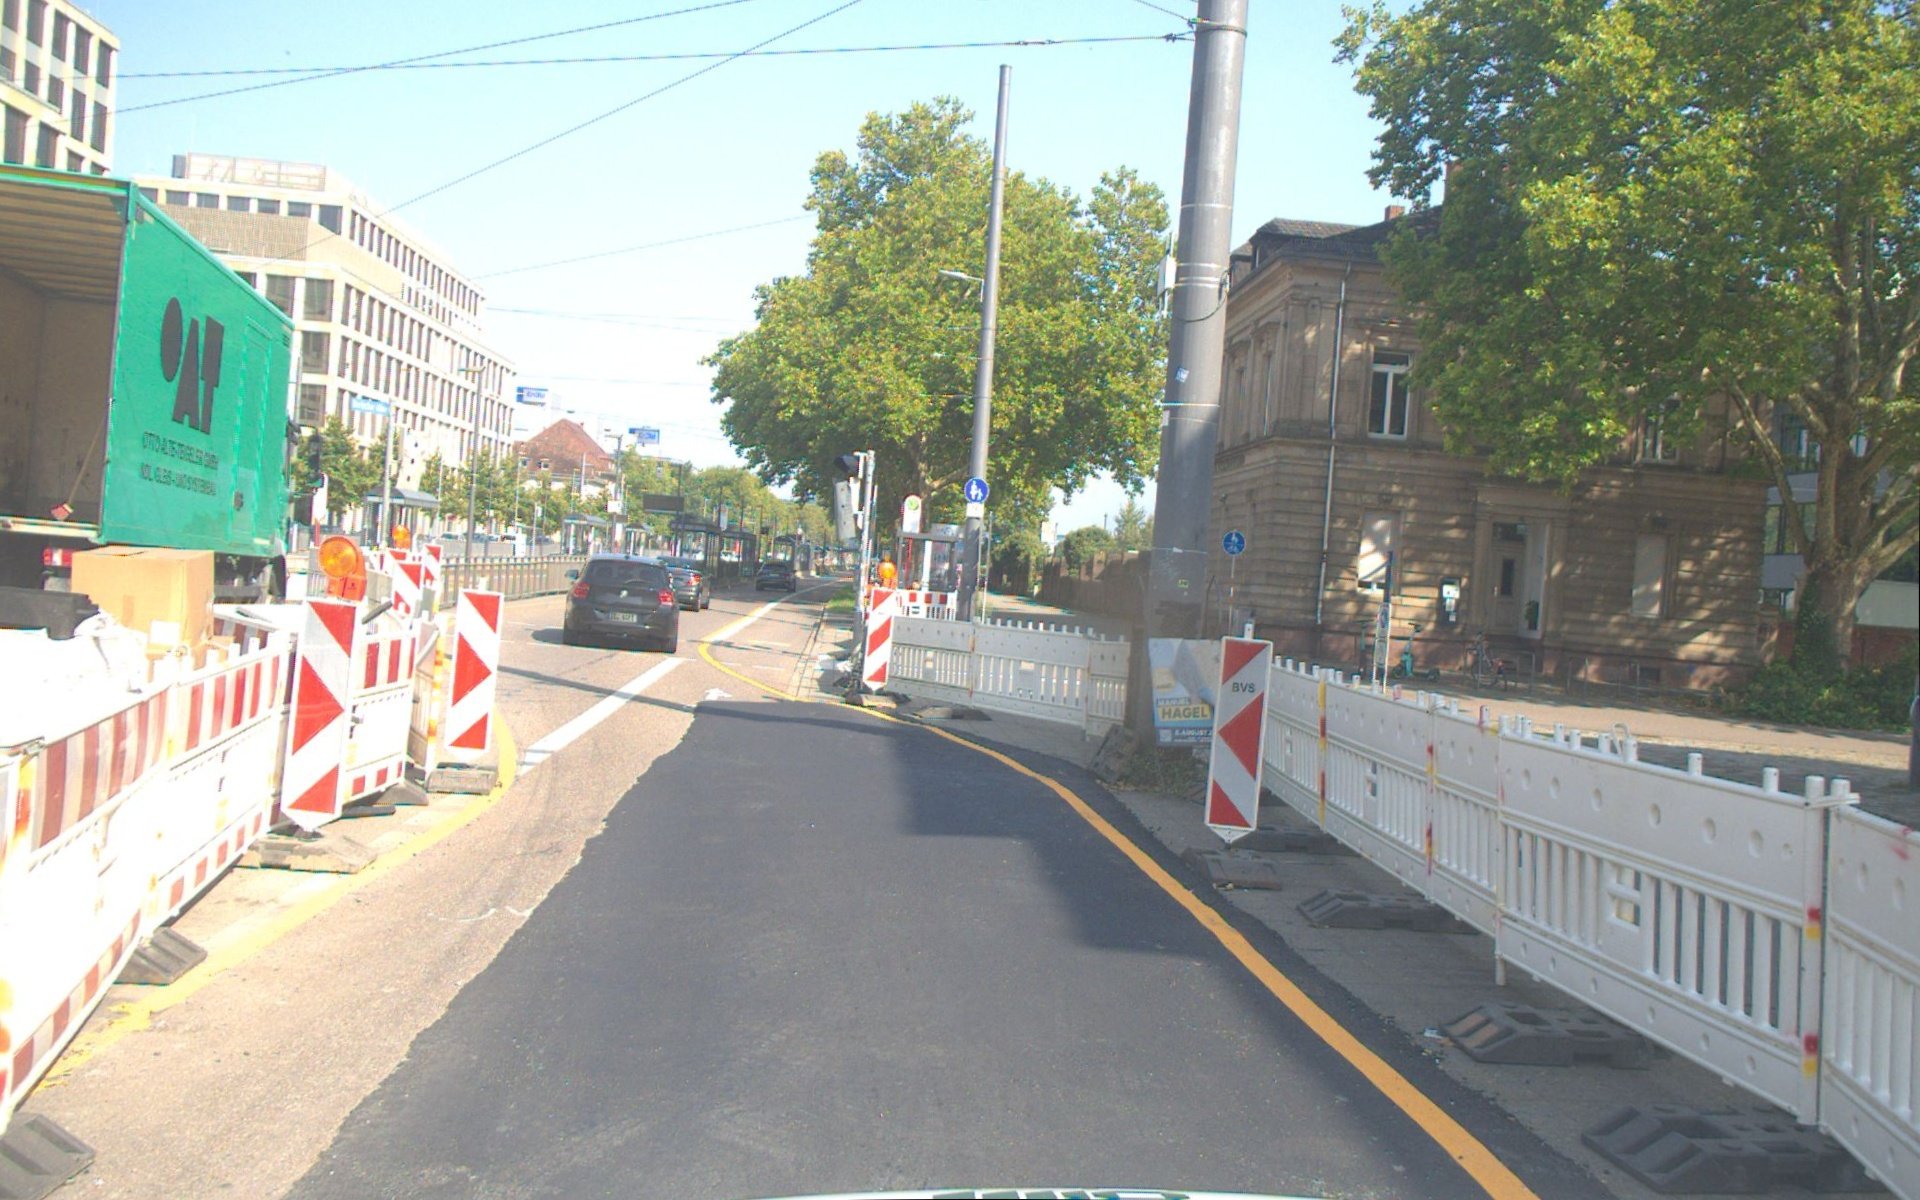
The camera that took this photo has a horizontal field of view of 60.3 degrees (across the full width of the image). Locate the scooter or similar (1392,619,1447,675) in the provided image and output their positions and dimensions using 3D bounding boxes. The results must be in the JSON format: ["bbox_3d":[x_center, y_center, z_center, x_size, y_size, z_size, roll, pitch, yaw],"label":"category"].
[{"bbox_3d":[10.110,1.027,36.406,1.071,1.152,0.312,4,1,-7],"label":"scooter or similar"}]

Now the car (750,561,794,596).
[{"bbox_3d":[-9.088,-1.057,80.110,1.869,1.564,3.998,2,1,-3],"label":"car"}]

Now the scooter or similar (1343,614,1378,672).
[{"bbox_3d":[8.667,0.921,35.826,0.400,1.186,1.226,4,1,1],"label":"scooter or similar"}]

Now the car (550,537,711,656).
[{"bbox_3d":[-5.235,-0.084,26.801,1.871,1.563,3.997,7,0,-4],"label":"car"}]

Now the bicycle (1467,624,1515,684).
[{"bbox_3d":[11.588,1.168,36.122,0.488,1.186,1.629,4,1,1],"label":"bicycle"}]

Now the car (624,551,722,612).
[{"bbox_3d":[-7.895,-0.490,45.813,1.954,1.466,3.999,5,0,-1],"label":"car"}]

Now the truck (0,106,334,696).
[{"bbox_3d":[-7.975,-1.509,15.120,2.759,3.854,8.989,3,1,-13],"label":"truck"}]

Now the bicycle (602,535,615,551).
[{"bbox_3d":[-28.748,-4.668,135.319,0.461,1.167,1.485,4,0,12],"label":"bicycle"}]

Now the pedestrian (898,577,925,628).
[{"bbox_3d":[-1.279,0.071,43.395,0.596,1.299,0.758,2,1,-6],"label":"pedestrian"}]
